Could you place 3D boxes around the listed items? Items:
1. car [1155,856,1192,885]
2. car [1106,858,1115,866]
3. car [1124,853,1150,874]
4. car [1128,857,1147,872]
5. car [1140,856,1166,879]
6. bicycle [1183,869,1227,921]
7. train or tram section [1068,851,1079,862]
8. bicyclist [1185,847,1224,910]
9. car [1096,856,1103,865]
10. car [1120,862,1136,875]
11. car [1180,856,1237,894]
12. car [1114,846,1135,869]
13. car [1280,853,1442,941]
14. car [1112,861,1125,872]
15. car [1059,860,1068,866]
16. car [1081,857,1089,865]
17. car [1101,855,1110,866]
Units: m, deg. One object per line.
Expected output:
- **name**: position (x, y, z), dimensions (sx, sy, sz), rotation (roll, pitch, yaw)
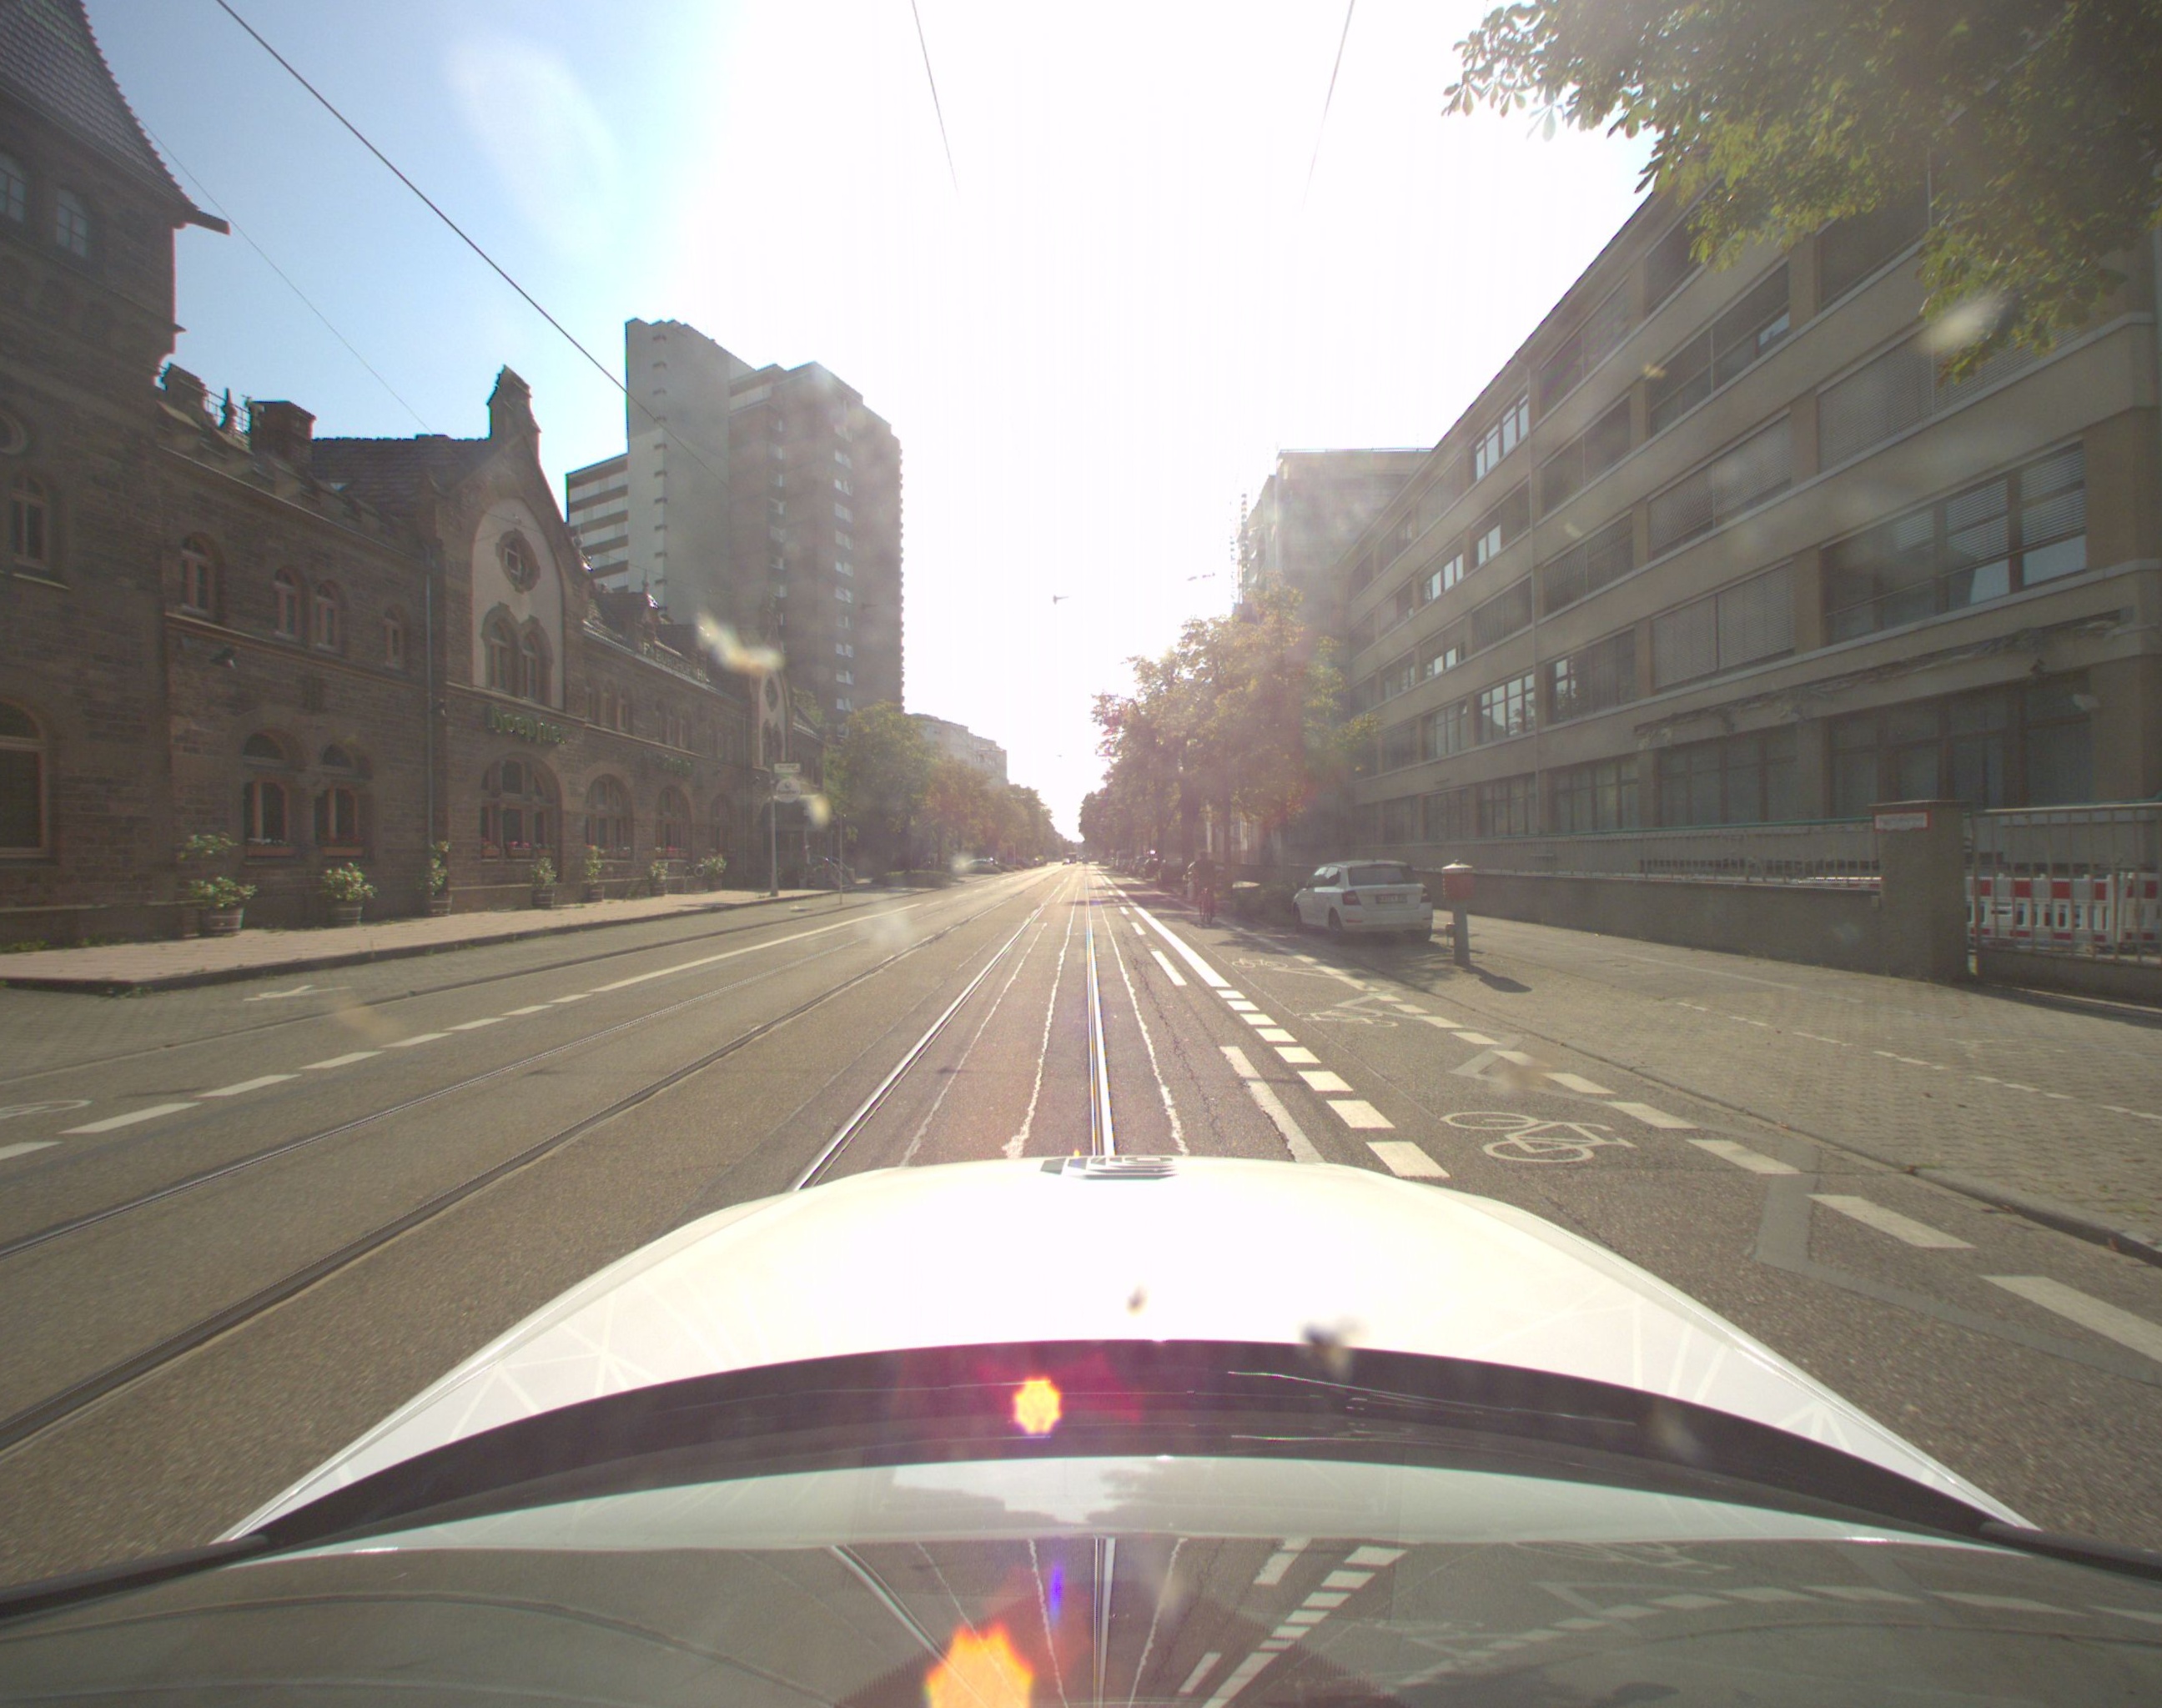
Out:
- **car**: position (5.158, 0.909, 45.681), dimensions (1.640, 1.511, 3.778), rotation (-3, -1, 1)
- **car**: position (5.471, 1.574, 152.478), dimensions (1.684, 1.418, 3.635), rotation (-1, -1, 1)
- **car**: position (4.713, 0.785, 68.895), dimensions (1.748, 1.691, 4.393), rotation (0, 0, -2)
- **car**: position (5.460, 0.998, 79.450), dimensions (1.611, 1.413, 4.000), rotation (-2, -1, 1)
- **car**: position (5.131, 0.942, 58.400), dimensions (1.570, 1.485, 3.738), rotation (-3, 0, 1)
- **bicycle**: position (2.961, 0.951, 19.620), dimensions (0.784, 1.144, 2.306), rotation (-1, -1, 2)
- **train or tram section**: position (-2.174, 0.847, 239.373), dimensions (2.720, 2.894, 15.452), rotation (-1, -1, 0)
- **bicyclist**: position (2.960, 0.574, 19.618), dimensions (0.784, 1.470, 1.116), rotation (-1, -1, 2)
- **car**: position (5.064, 1.853, 221.127), dimensions (1.997, 2.475, 4.477), rotation (-1, -1, 1)
- **car**: position (5.152, 1.586, 89.580), dimensions (1.611, 1.374, 4.827), rotation (-2, -1, 1)
- **car**: position (5.258, 0.855, 33.956), dimensions (1.641, 1.428, 4.083), rotation (-3, -1, -1)
- **car**: position (5.289, 0.478, 100.008), dimensions (2.076, 2.552, 5.498), rotation (-4, -1, -1)
- **car**: position (5.196, 0.755, 15.689), dimensions (1.635, 1.430, 3.986), rotation (-2, -1, -2)
- **car**: position (5.471, 1.822, 118.848), dimensions (1.748, 1.377, 4.718), rotation (-3, -1, 0)
- **car**: position (-3.993, 2.028, 187.231), dimensions (1.823, 1.376, 4.511), rotation (-1, -1, -1)
- **car**: position (1.111, 1.841, 207.233), dimensions (1.986, 1.838, 4.001), rotation (-1, -1, 1)
- **car**: position (5.756, 1.568, 194.402), dimensions (1.997, 2.491, 4.477), rotation (-1, -2, 1)
